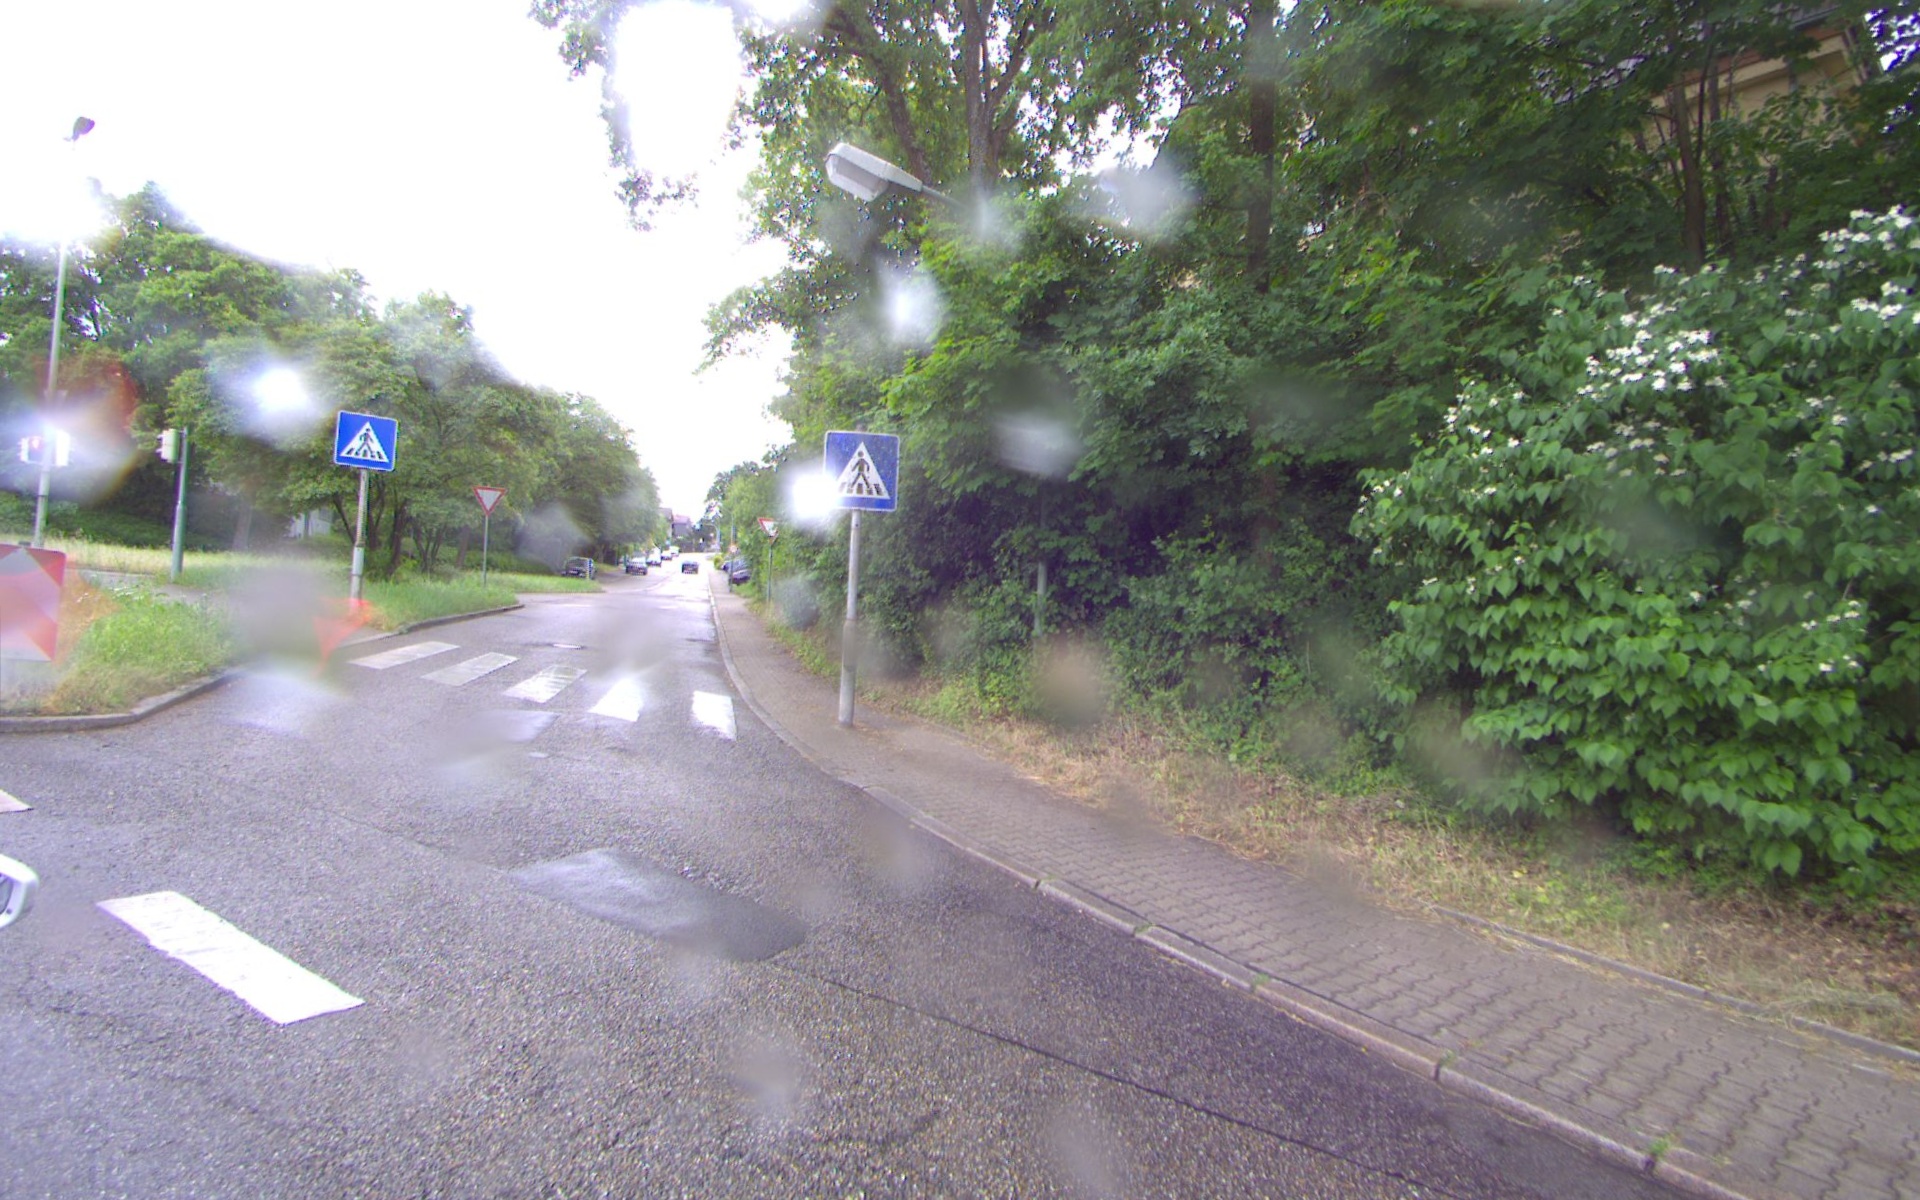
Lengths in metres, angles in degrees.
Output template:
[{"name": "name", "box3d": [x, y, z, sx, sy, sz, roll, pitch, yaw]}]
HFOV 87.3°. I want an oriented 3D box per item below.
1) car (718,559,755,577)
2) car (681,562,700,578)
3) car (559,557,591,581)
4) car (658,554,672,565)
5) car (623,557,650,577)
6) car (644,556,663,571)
[{"name": "car", "box3d": [-25.783, -3.681, 116.093, 3.939, 1.594, 1.766, 5, 1, -18]}, {"name": "car", "box3d": [-29.832, -3.346, 111.454, 1.789, 1.461, 4.148, 6, 1, -14]}, {"name": "car", "box3d": [-25.895, -2.078, 67.735, 1.651, 1.387, 3.477, 6, 0, -16]}, {"name": "car", "box3d": [-46.791, -6.433, 159.508, 1.877, 1.413, 4.151, 7, -2, -20]}, {"name": "car", "box3d": [-30.115, -3.016, 93.730, 1.874, 1.467, 4.285, 7, -2, -13]}, {"name": "car", "box3d": [-37.722, -4.418, 123.644, 1.968, 1.463, 4.278, 7, -2, -19]}]
